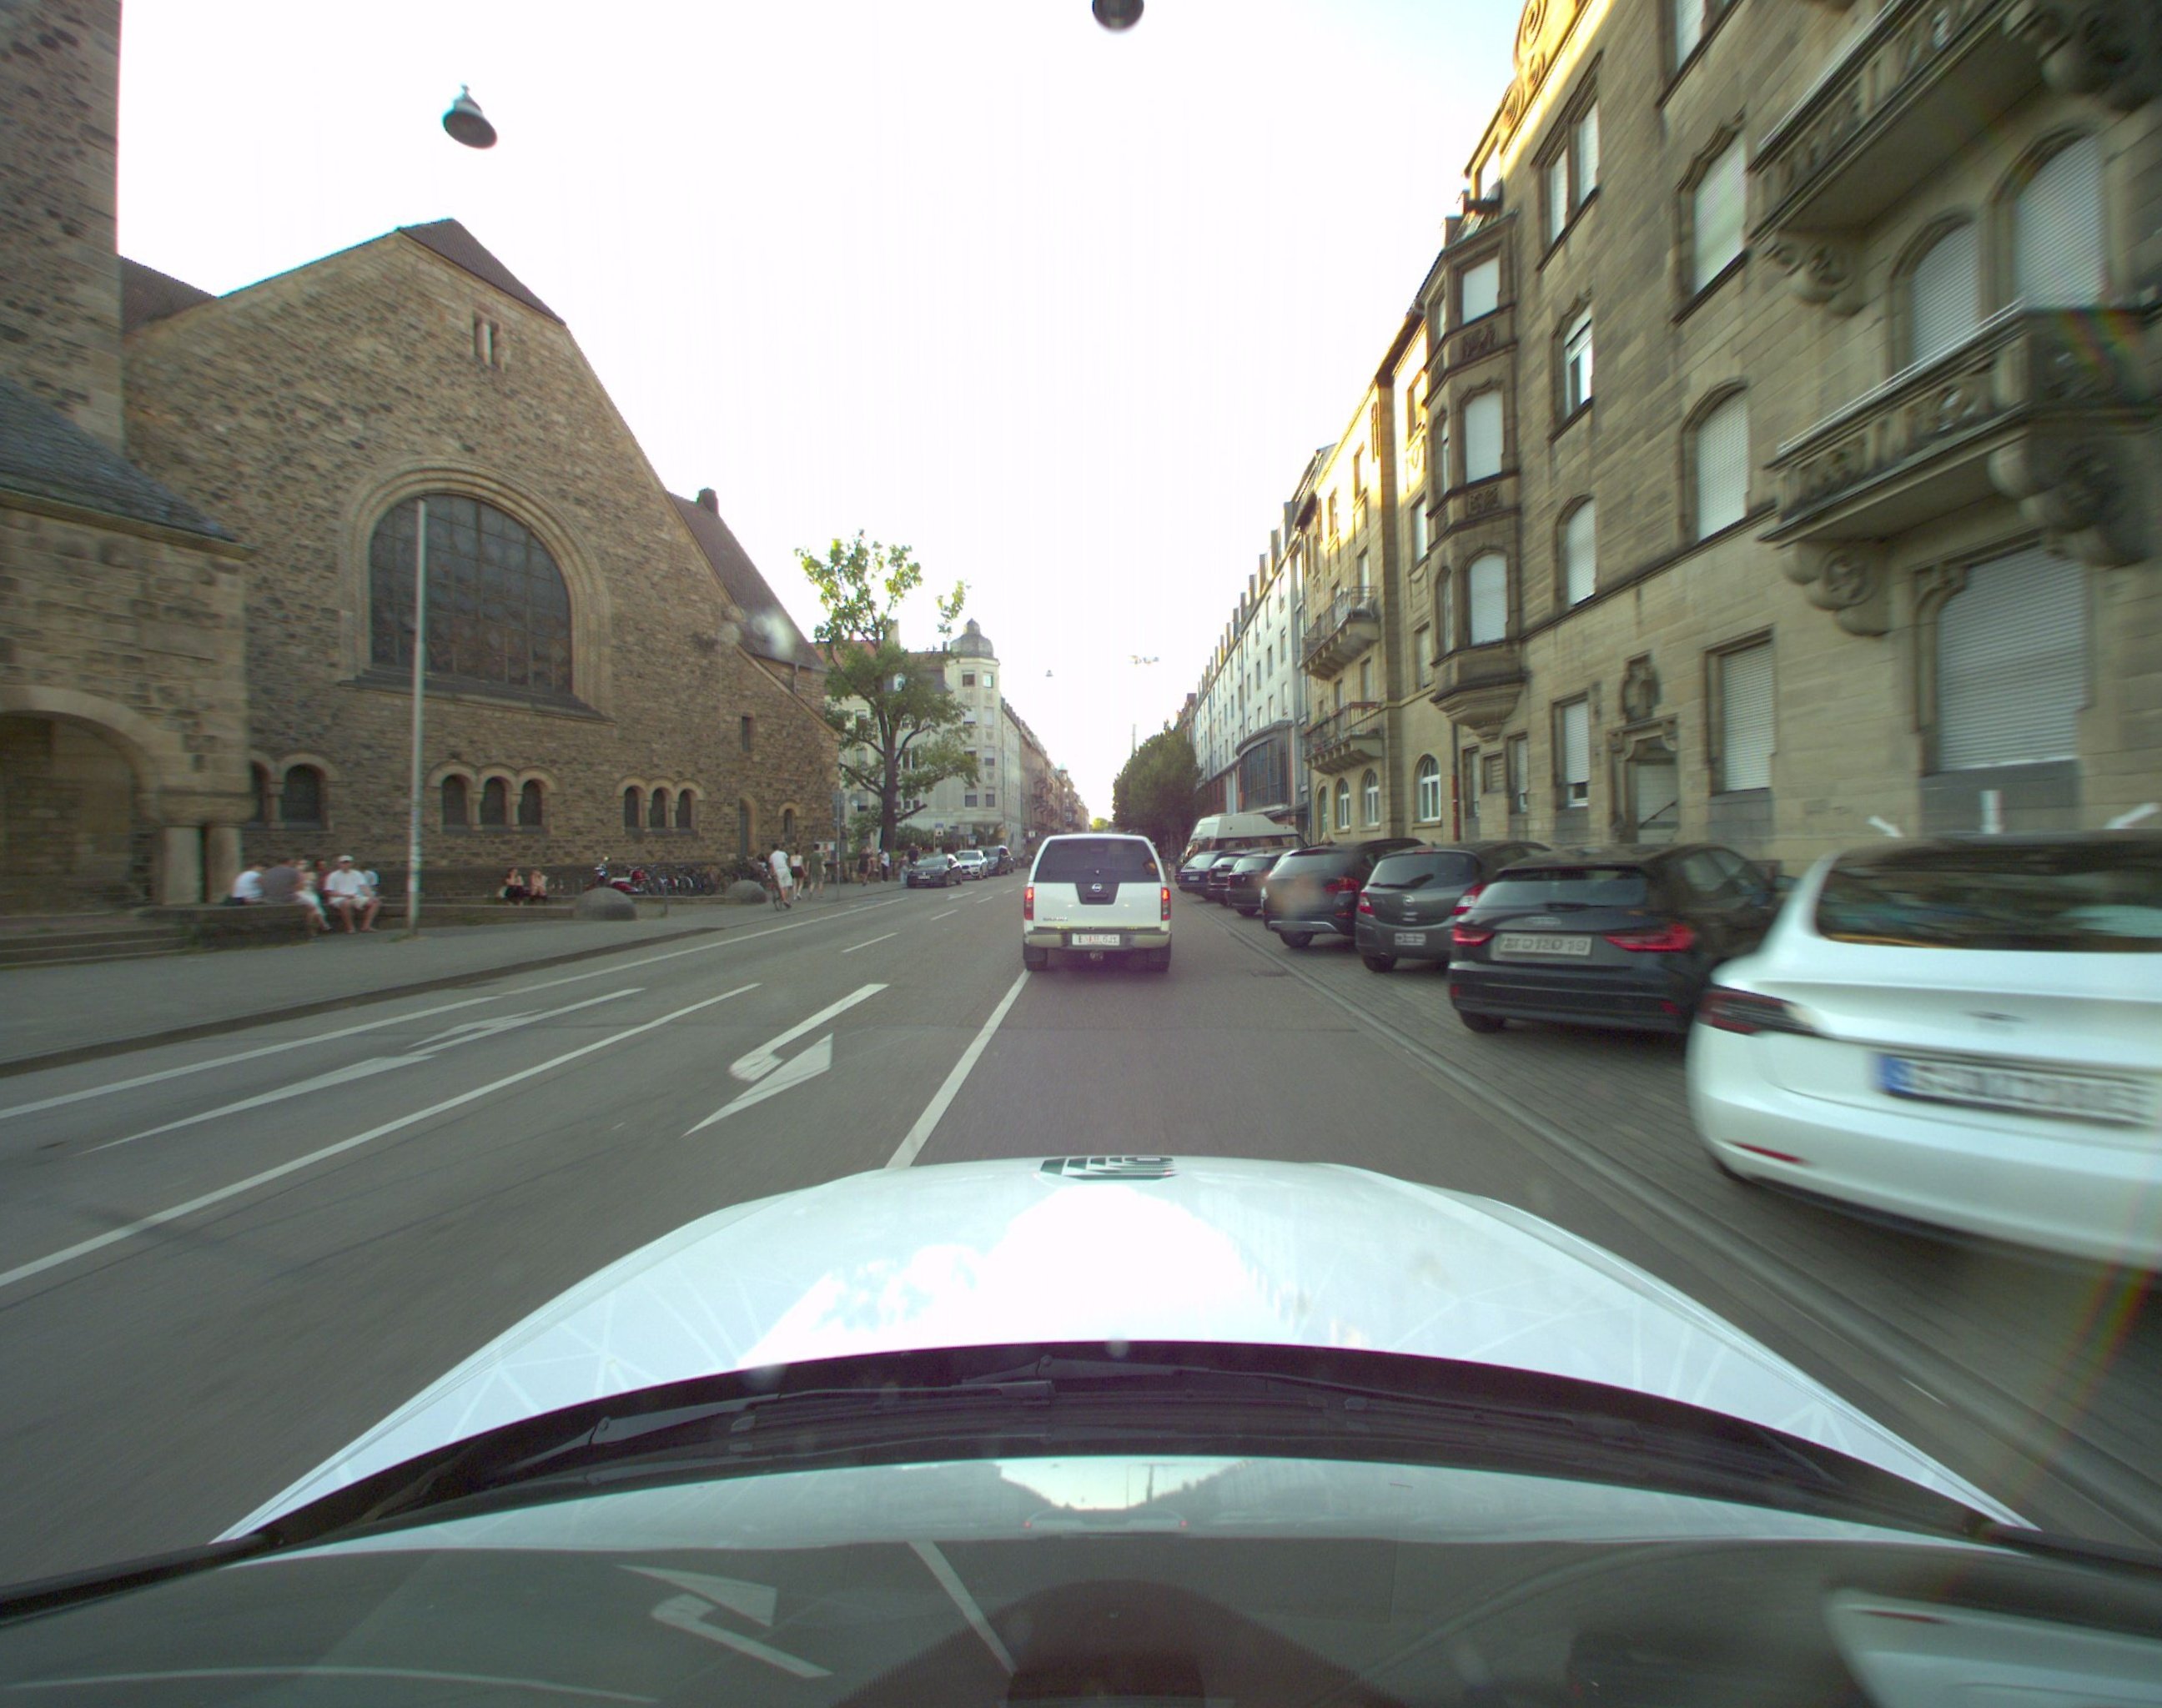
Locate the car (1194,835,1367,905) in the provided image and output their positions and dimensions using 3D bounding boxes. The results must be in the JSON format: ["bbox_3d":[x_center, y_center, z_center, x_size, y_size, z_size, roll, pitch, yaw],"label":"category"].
[{"bbox_3d":[5.210,0.414,21.217,4.130,1.546,1.779,-3,-2,-26],"label":"car"}]

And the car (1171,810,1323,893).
[{"bbox_3d":[5.495,-0.099,26.870,4.736,2.547,1.901,-1,-1,-27],"label":"car"}]

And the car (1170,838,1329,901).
[{"bbox_3d":[4.981,0.419,23.954,4.411,1.486,1.827,-4,1,-29],"label":"car"}]

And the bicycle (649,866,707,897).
[{"bbox_3d":[-13.769,0.943,27.810,1.986,0.989,0.468,-1,0,17],"label":"bicycle"}]

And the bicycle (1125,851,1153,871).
[{"bbox_3d":[3.746,0.465,52.694,1.702,1.176,0.472,-3,0,0],"label":"bicycle"}]

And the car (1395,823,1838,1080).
[{"bbox_3d":[4.611,0.585,6.822,3.935,1.446,1.853,-3,-1,-38],"label":"car"}]

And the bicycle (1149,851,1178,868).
[{"bbox_3d":[5.602,0.355,55.158,1.851,1.066,0.524,-3,0,0],"label":"bicycle"}]

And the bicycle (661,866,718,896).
[{"bbox_3d":[-13.603,0.931,28.305,1.968,0.989,0.468,-1,0,17],"label":"bicycle"}]

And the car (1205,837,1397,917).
[{"bbox_3d":[4.970,0.477,18.285,4.050,1.431,1.849,-4,0,-32],"label":"car"}]

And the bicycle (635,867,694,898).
[{"bbox_3d":[-13.977,0.947,27.338,1.986,0.989,0.468,-1,0,17],"label":"bicycle"}]

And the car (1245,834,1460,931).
[{"bbox_3d":[5.284,0.489,15.702,4.074,1.498,1.736,-4,0,-33],"label":"car"}]

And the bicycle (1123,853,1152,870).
[{"bbox_3d":[3.733,0.508,53.779,1.851,1.038,0.472,-3,0,0],"label":"bicycle"}]

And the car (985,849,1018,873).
[{"bbox_3d":[-5.514,0.470,57.018,1.633,1.555,4.009,-1,0,4],"label":"car"}]

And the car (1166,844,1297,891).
[{"bbox_3d":[5.445,0.457,29.396,4.365,1.502,1.897,-1,0,-26],"label":"car"}]

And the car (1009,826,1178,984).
[{"bbox_3d":[0.217,0.568,11.635,1.926,1.794,4.624,0,0,2],"label":"car"}]

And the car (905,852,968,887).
[{"bbox_3d":[-6.424,0.663,36.763,1.775,1.435,4.320,-1,0,4],"label":"car"}]

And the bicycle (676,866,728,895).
[{"bbox_3d":[-13.384,0.937,28.751,1.864,0.989,0.372,-1,0,17],"label":"bicycle"}]

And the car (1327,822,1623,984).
[{"bbox_3d":[4.963,0.487,10.053,3.936,1.544,1.697,-3,-1,-39],"label":"car"}]

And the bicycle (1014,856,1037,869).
[{"bbox_3d":[-4.968,0.765,72.878,2.090,1.094,0.504,0,1,27],"label":"bicycle"}]

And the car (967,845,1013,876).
[{"bbox_3d":[-5.715,0.371,51.889,1.985,1.866,5.295,-1,0,4],"label":"car"}]

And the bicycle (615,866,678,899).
[{"bbox_3d":[-14.253,0.929,26.722,1.986,0.989,0.588,2,1,17],"label":"bicycle"}]

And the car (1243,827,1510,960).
[{"bbox_3d":[4.631,0.501,12.542,4.117,1.607,1.796,-4,0,-36],"label":"car"}]

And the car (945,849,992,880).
[{"bbox_3d":[-6.146,0.555,44.773,1.865,1.592,4.469,-1,0,1],"label":"car"}]

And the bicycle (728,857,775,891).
[{"bbox_3d":[-12.464,0.749,30.837,1.715,1.248,0.439,-1,0,16],"label":"bicycle"}]

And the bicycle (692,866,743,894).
[{"bbox_3d":[-13.044,0.932,29.195,1.864,0.989,0.372,-1,0,16],"label":"bicycle"}]

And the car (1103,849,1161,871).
[{"bbox_3d":[3.801,0.456,60.569,4.009,1.506,1.755,-2,0,-27],"label":"car"}]

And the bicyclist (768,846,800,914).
[{"bbox_3d":[-8.341,0.717,22.873,0.706,1.880,0.939,0,0,-12],"label":"bicyclist"}]

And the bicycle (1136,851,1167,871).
[{"bbox_3d":[4.477,0.422,52.004,1.852,1.146,0.659,-4,0,1],"label":"bicycle"}]

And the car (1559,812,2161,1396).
[{"bbox_3d":[4.216,0.589,3.682,4.274,1.453,1.978,-3,0,-37],"label":"car"}]

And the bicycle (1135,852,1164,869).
[{"bbox_3d":[4.538,0.445,54.302,1.851,1.038,0.402,-3,0,0],"label":"bicycle"}]

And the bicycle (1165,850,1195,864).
[{"bbox_3d":[8.553,0.241,70.607,2.523,1.166,0.563,-1,0,4],"label":"bicycle"}]

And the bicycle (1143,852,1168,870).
[{"bbox_3d":[4.883,0.452,53.211,1.534,1.038,0.472,-3,0,0],"label":"bicycle"}]
